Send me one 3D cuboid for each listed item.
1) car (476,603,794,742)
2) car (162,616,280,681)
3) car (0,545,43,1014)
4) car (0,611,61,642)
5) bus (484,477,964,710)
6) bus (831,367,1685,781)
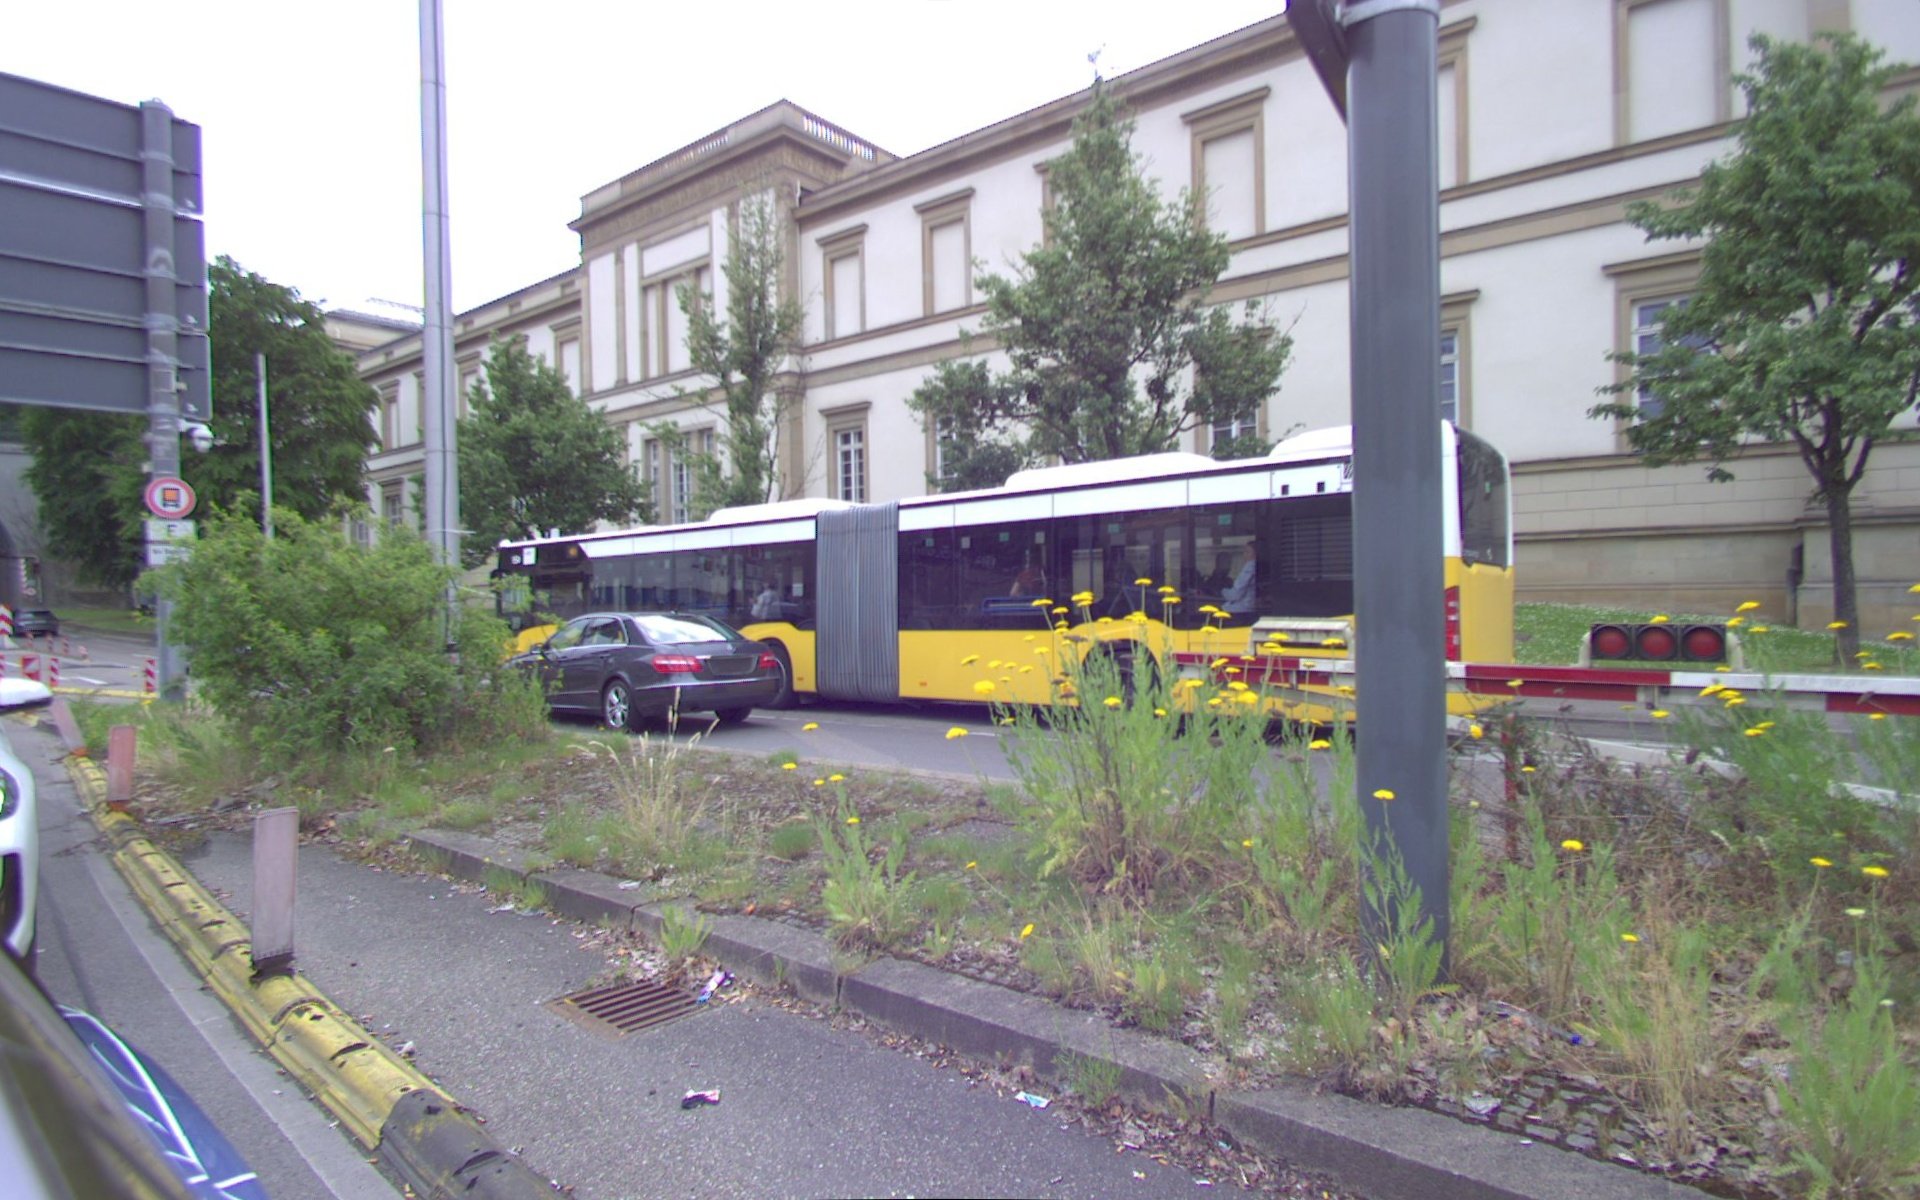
[{"bbox_3d":[-4.334,0.820,13.100,4.625,1.482,1.684,-1,0,40],"label":"car"},{"bbox_3d":[-20.189,1.282,27.594,3.879,1.601,1.680,-1,0,40],"label":"car"},{"bbox_3d":[-5.264,0.666,4.167,3.881,1.603,1.824,-2,0,42],"label":"car"},{"bbox_3d":[-47.988,1.364,52.150,4.282,1.525,1.690,-1,-2,38],"label":"car"},{"bbox_3d":[-4.614,-0.012,17.801,9.738,3.137,2.818,-1,0,39],"label":"bus"},{"bbox_3d":[2.648,-0.134,11.731,9.116,3.137,2.816,-1,0,41],"label":"bus"}]
